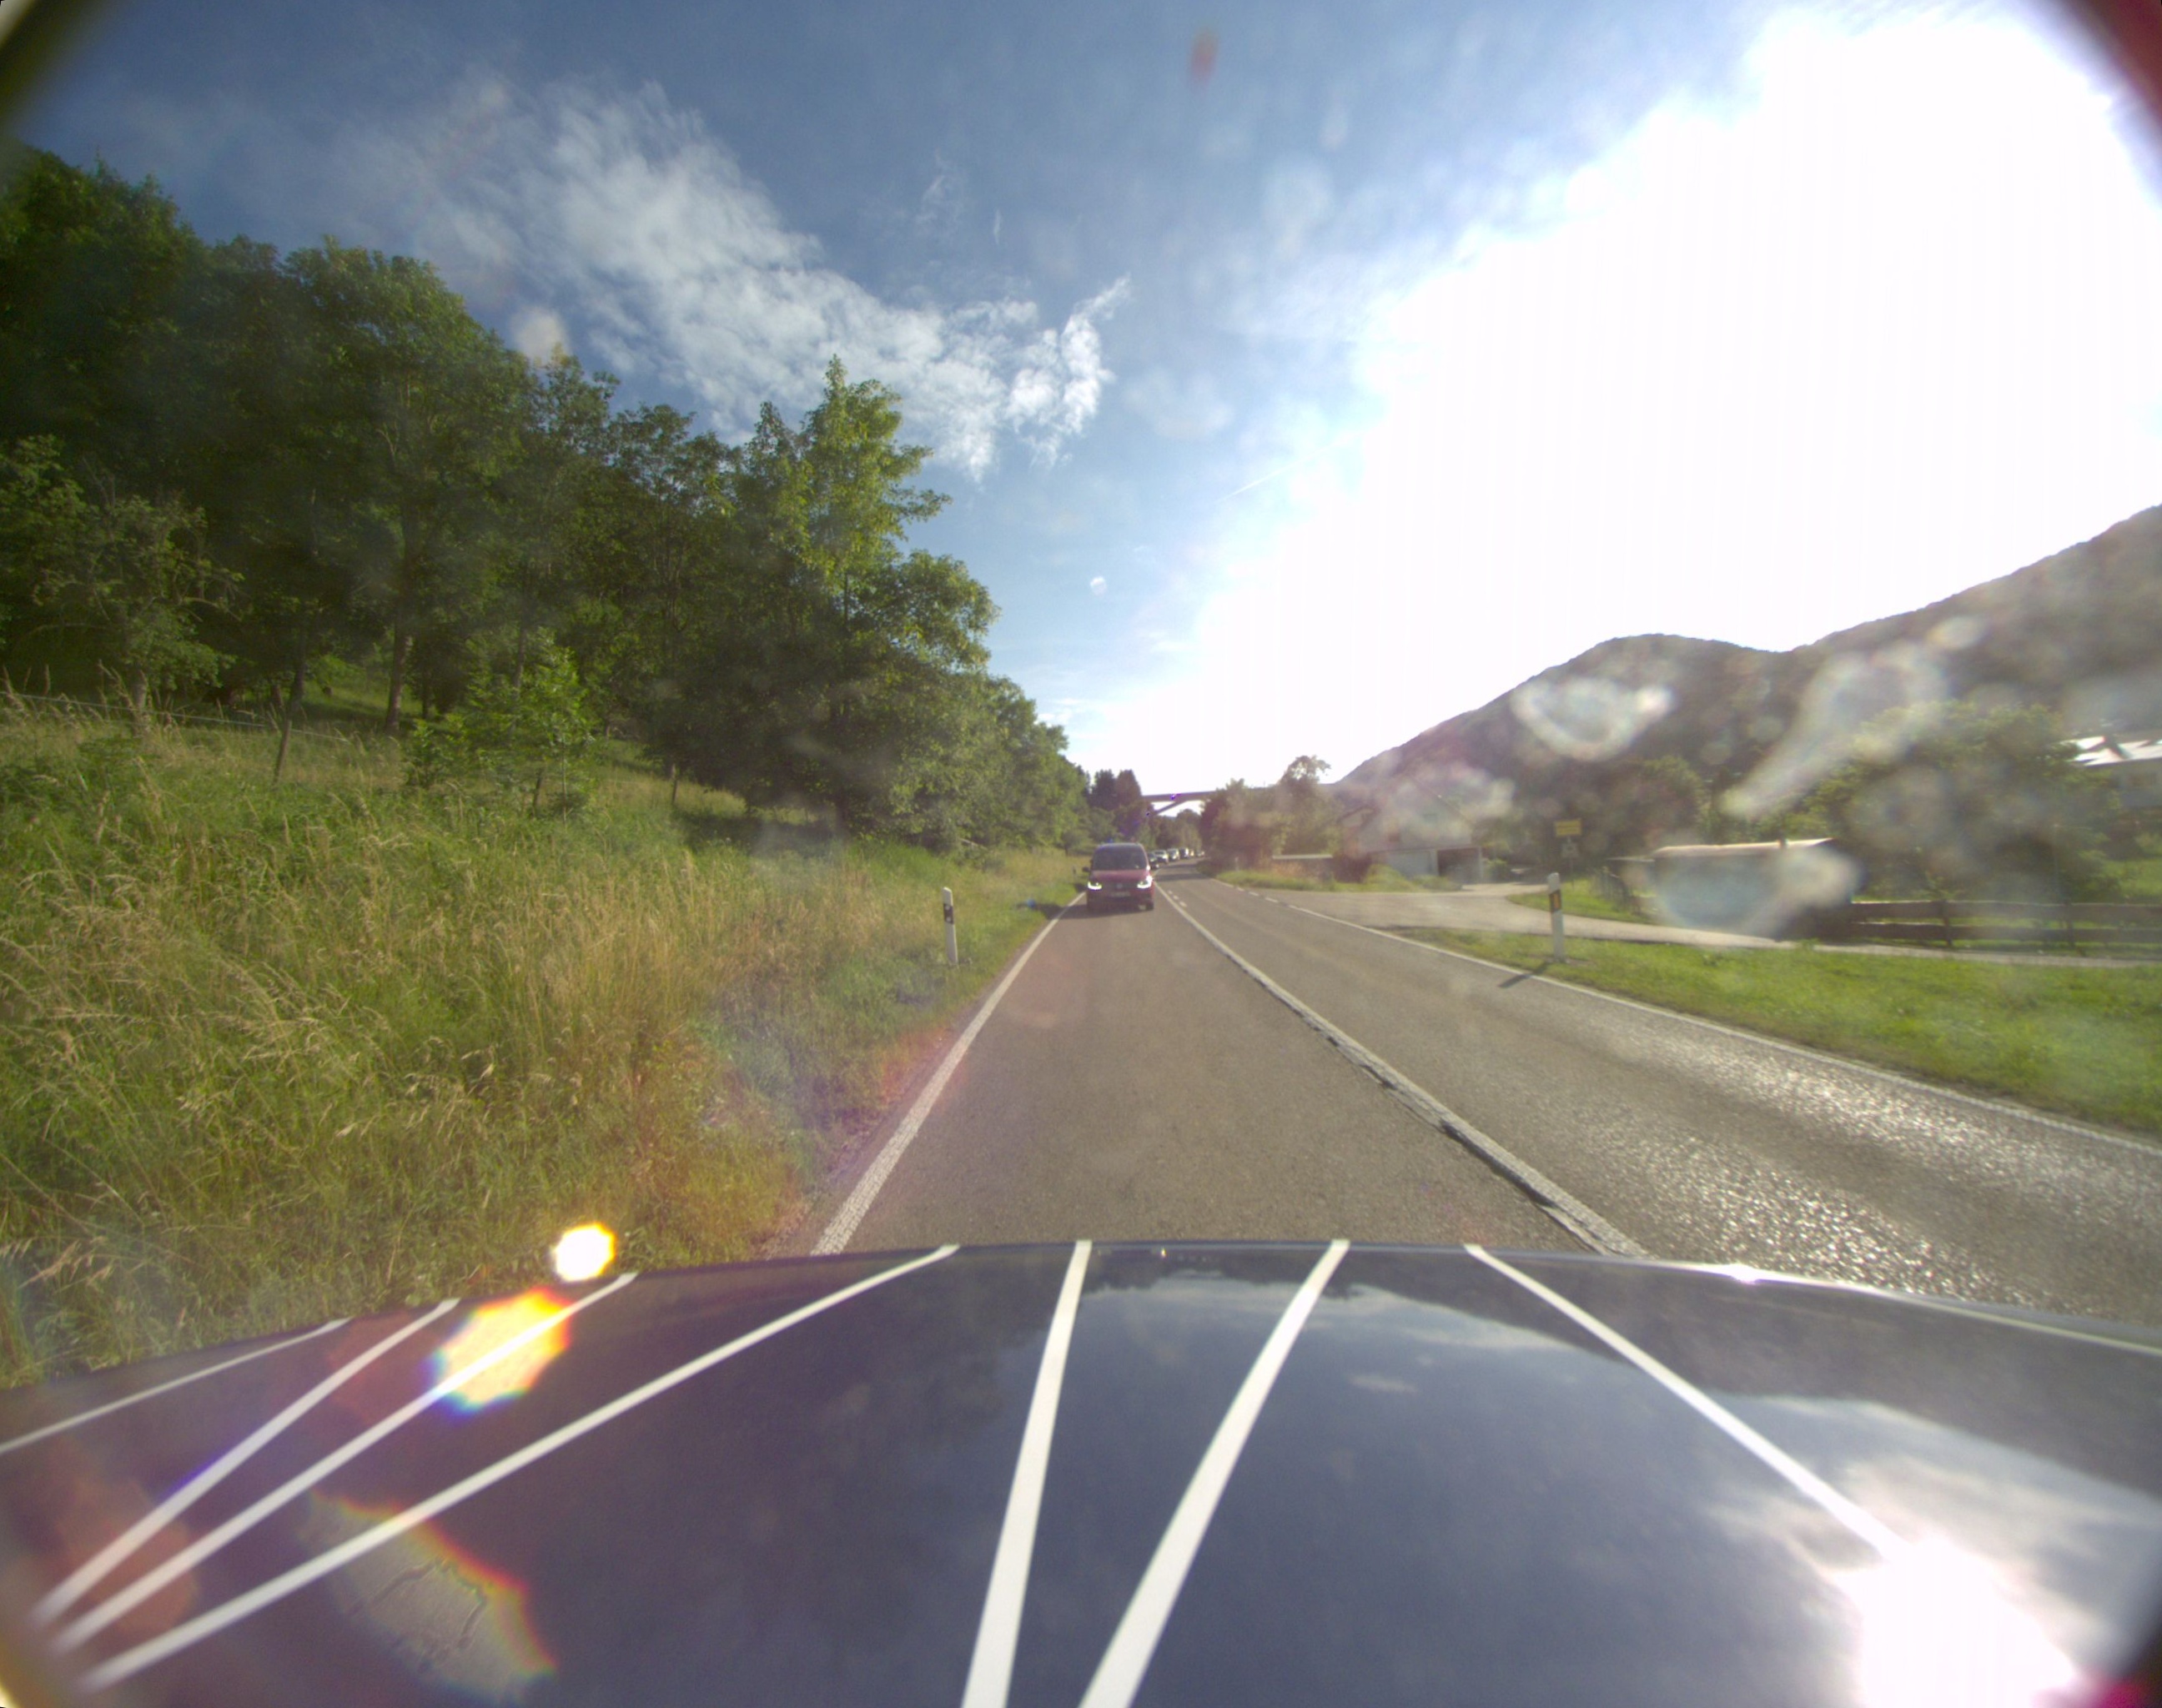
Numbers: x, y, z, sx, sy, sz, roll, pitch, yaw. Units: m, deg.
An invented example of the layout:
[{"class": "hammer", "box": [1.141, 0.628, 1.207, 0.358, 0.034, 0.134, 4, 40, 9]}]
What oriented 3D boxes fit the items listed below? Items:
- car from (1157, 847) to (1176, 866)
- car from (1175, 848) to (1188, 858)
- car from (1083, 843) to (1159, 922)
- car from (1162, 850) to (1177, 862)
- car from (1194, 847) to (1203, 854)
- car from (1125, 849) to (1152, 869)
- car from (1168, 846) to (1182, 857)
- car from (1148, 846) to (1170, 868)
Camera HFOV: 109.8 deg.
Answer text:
[{"class": "car", "box": [9.662, 0.260, 85.414, 1.913, 2.002, 4.003, 0, 1, 10]}, {"class": "car", "box": [16.507, -0.232, 124.664, 1.817, 1.608, 4.003, 0, 1, 12]}, {"class": "car", "box": [1.068, 0.697, 20.953, 1.772, 1.855, 3.875, -4, 1, 2]}, {"class": "car", "box": [11.935, 0.210, 102.480, 1.840, 1.543, 4.180, 0, 1, 10]}, {"class": "car", "box": [26.133, -0.798, 168.625, 1.840, 1.543, 4.181, 0, 1, 12]}, {"class": "car", "box": [4.837, 0.403, 63.512, 1.840, 1.543, 4.181, 0, 1, 11]}, {"class": "car", "box": [13.925, -0.422, 112.046, 1.817, 1.608, 4.003, -1, 1, 11]}, {"class": "car", "box": [7.597, 0.255, 73.873, 1.913, 2.002, 4.002, 0, 1, 9]}]
